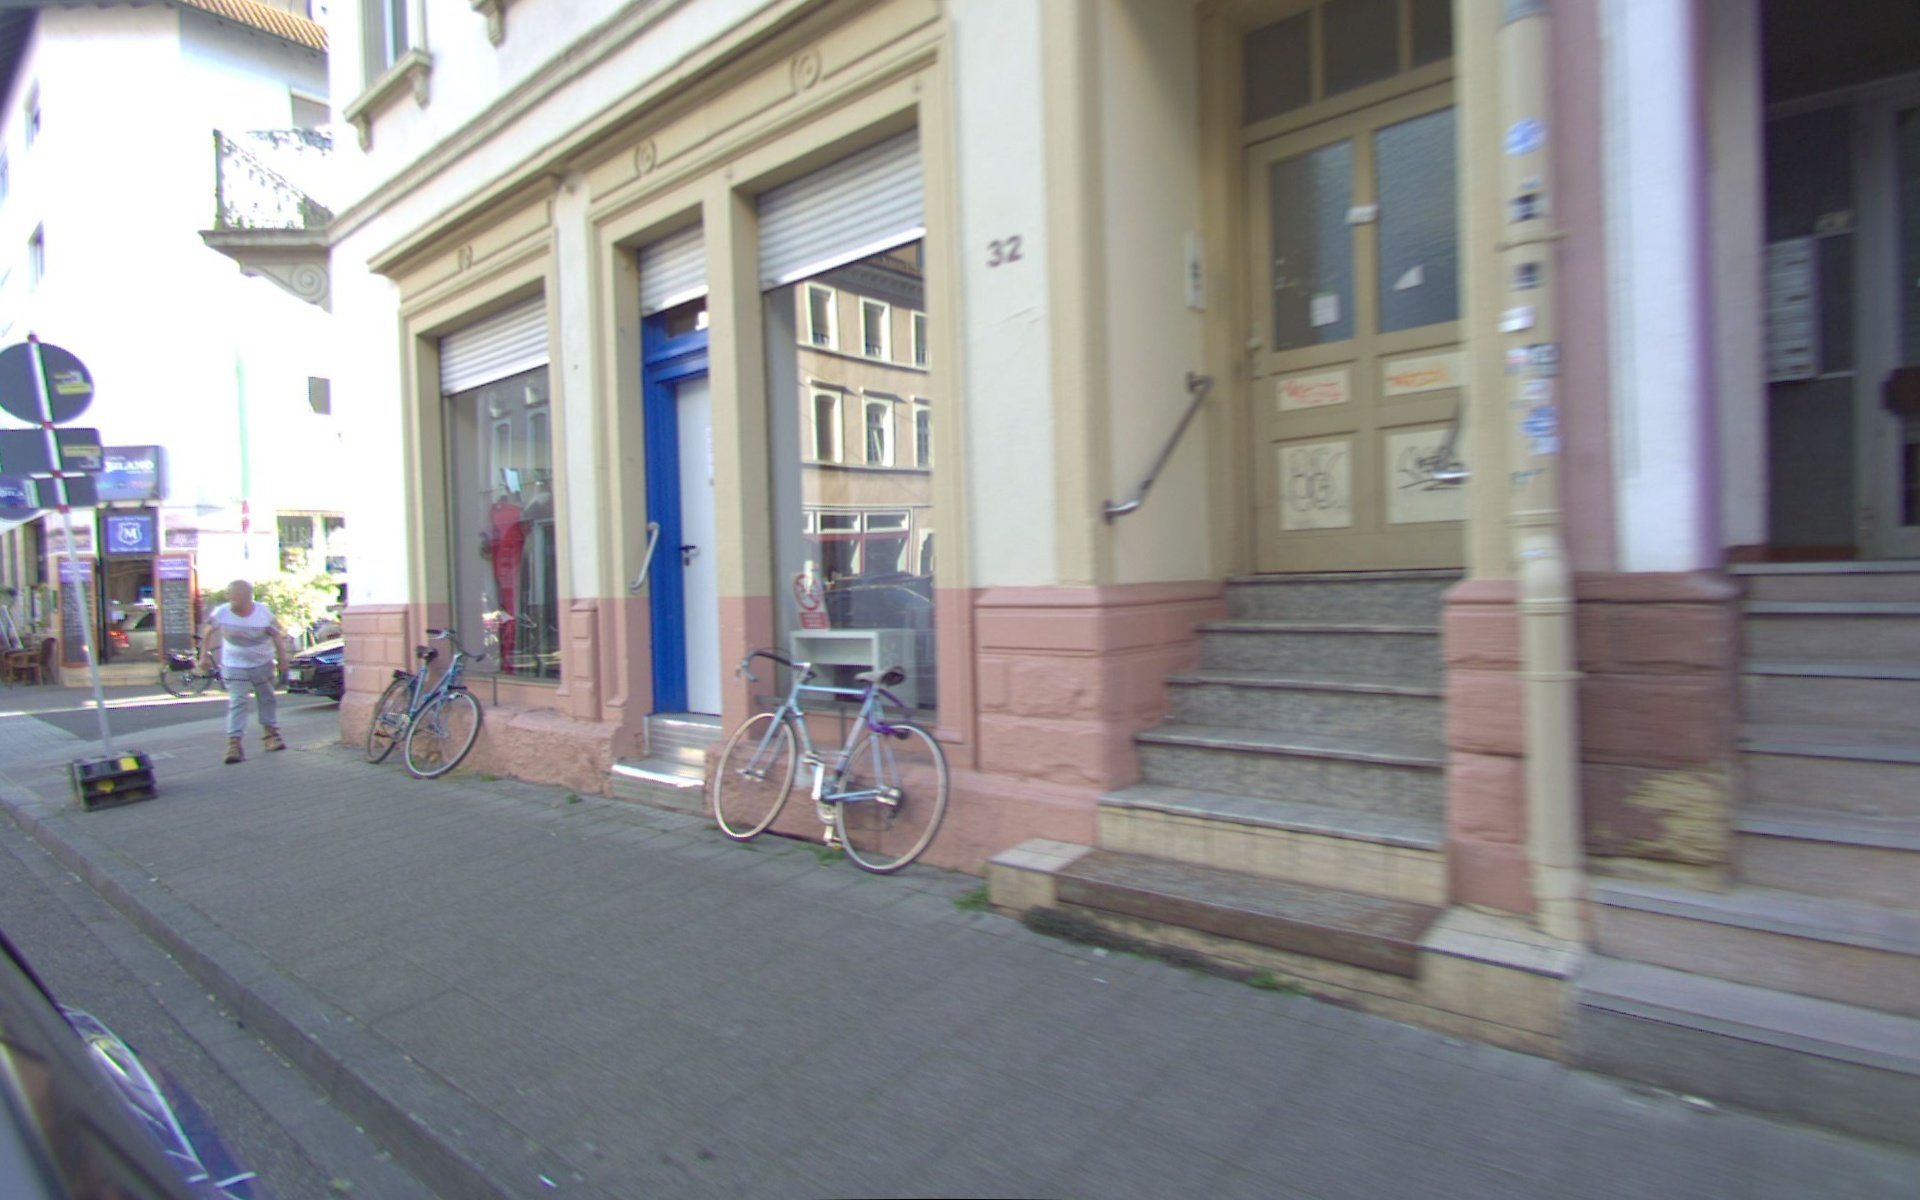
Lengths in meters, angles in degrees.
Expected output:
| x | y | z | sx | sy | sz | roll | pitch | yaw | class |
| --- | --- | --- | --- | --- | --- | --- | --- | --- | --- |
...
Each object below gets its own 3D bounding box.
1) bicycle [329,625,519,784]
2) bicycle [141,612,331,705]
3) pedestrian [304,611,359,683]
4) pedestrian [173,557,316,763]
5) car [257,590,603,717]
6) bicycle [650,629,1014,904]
| x | y | z | sx | sy | sz | roll | pitch | yaw | class |
| --- | --- | --- | --- | --- | --- | --- | --- | --- | --- |
| -4.152 | 0.748 | 7.781 | 1.817 | 1.029 | 0.597 | -2 | 4 | 41 | bicycle |
| -12.199 | 0.941 | 17.133 | 0.928 | 1.369 | 2.450 | -1 | 1 | 41 | bicycle |
| -11.711 | 0.863 | 18.860 | 0.660 | 1.275 | 0.678 | -1 | 2 | 44 | pedestrian |
| -6.445 | 0.523 | 9.115 | 0.864 | 1.713 | 0.687 | -4 | 3 | 41 | pedestrian |
| -7.584 | 0.678 | 14.828 | 1.757 | 1.466 | 4.100 | -2 | 1 | 38 | car |
| -0.668 | 0.673 | 4.775 | 1.817 | 1.030 | 0.616 | -1 | 2 | 41 | bicycle |
